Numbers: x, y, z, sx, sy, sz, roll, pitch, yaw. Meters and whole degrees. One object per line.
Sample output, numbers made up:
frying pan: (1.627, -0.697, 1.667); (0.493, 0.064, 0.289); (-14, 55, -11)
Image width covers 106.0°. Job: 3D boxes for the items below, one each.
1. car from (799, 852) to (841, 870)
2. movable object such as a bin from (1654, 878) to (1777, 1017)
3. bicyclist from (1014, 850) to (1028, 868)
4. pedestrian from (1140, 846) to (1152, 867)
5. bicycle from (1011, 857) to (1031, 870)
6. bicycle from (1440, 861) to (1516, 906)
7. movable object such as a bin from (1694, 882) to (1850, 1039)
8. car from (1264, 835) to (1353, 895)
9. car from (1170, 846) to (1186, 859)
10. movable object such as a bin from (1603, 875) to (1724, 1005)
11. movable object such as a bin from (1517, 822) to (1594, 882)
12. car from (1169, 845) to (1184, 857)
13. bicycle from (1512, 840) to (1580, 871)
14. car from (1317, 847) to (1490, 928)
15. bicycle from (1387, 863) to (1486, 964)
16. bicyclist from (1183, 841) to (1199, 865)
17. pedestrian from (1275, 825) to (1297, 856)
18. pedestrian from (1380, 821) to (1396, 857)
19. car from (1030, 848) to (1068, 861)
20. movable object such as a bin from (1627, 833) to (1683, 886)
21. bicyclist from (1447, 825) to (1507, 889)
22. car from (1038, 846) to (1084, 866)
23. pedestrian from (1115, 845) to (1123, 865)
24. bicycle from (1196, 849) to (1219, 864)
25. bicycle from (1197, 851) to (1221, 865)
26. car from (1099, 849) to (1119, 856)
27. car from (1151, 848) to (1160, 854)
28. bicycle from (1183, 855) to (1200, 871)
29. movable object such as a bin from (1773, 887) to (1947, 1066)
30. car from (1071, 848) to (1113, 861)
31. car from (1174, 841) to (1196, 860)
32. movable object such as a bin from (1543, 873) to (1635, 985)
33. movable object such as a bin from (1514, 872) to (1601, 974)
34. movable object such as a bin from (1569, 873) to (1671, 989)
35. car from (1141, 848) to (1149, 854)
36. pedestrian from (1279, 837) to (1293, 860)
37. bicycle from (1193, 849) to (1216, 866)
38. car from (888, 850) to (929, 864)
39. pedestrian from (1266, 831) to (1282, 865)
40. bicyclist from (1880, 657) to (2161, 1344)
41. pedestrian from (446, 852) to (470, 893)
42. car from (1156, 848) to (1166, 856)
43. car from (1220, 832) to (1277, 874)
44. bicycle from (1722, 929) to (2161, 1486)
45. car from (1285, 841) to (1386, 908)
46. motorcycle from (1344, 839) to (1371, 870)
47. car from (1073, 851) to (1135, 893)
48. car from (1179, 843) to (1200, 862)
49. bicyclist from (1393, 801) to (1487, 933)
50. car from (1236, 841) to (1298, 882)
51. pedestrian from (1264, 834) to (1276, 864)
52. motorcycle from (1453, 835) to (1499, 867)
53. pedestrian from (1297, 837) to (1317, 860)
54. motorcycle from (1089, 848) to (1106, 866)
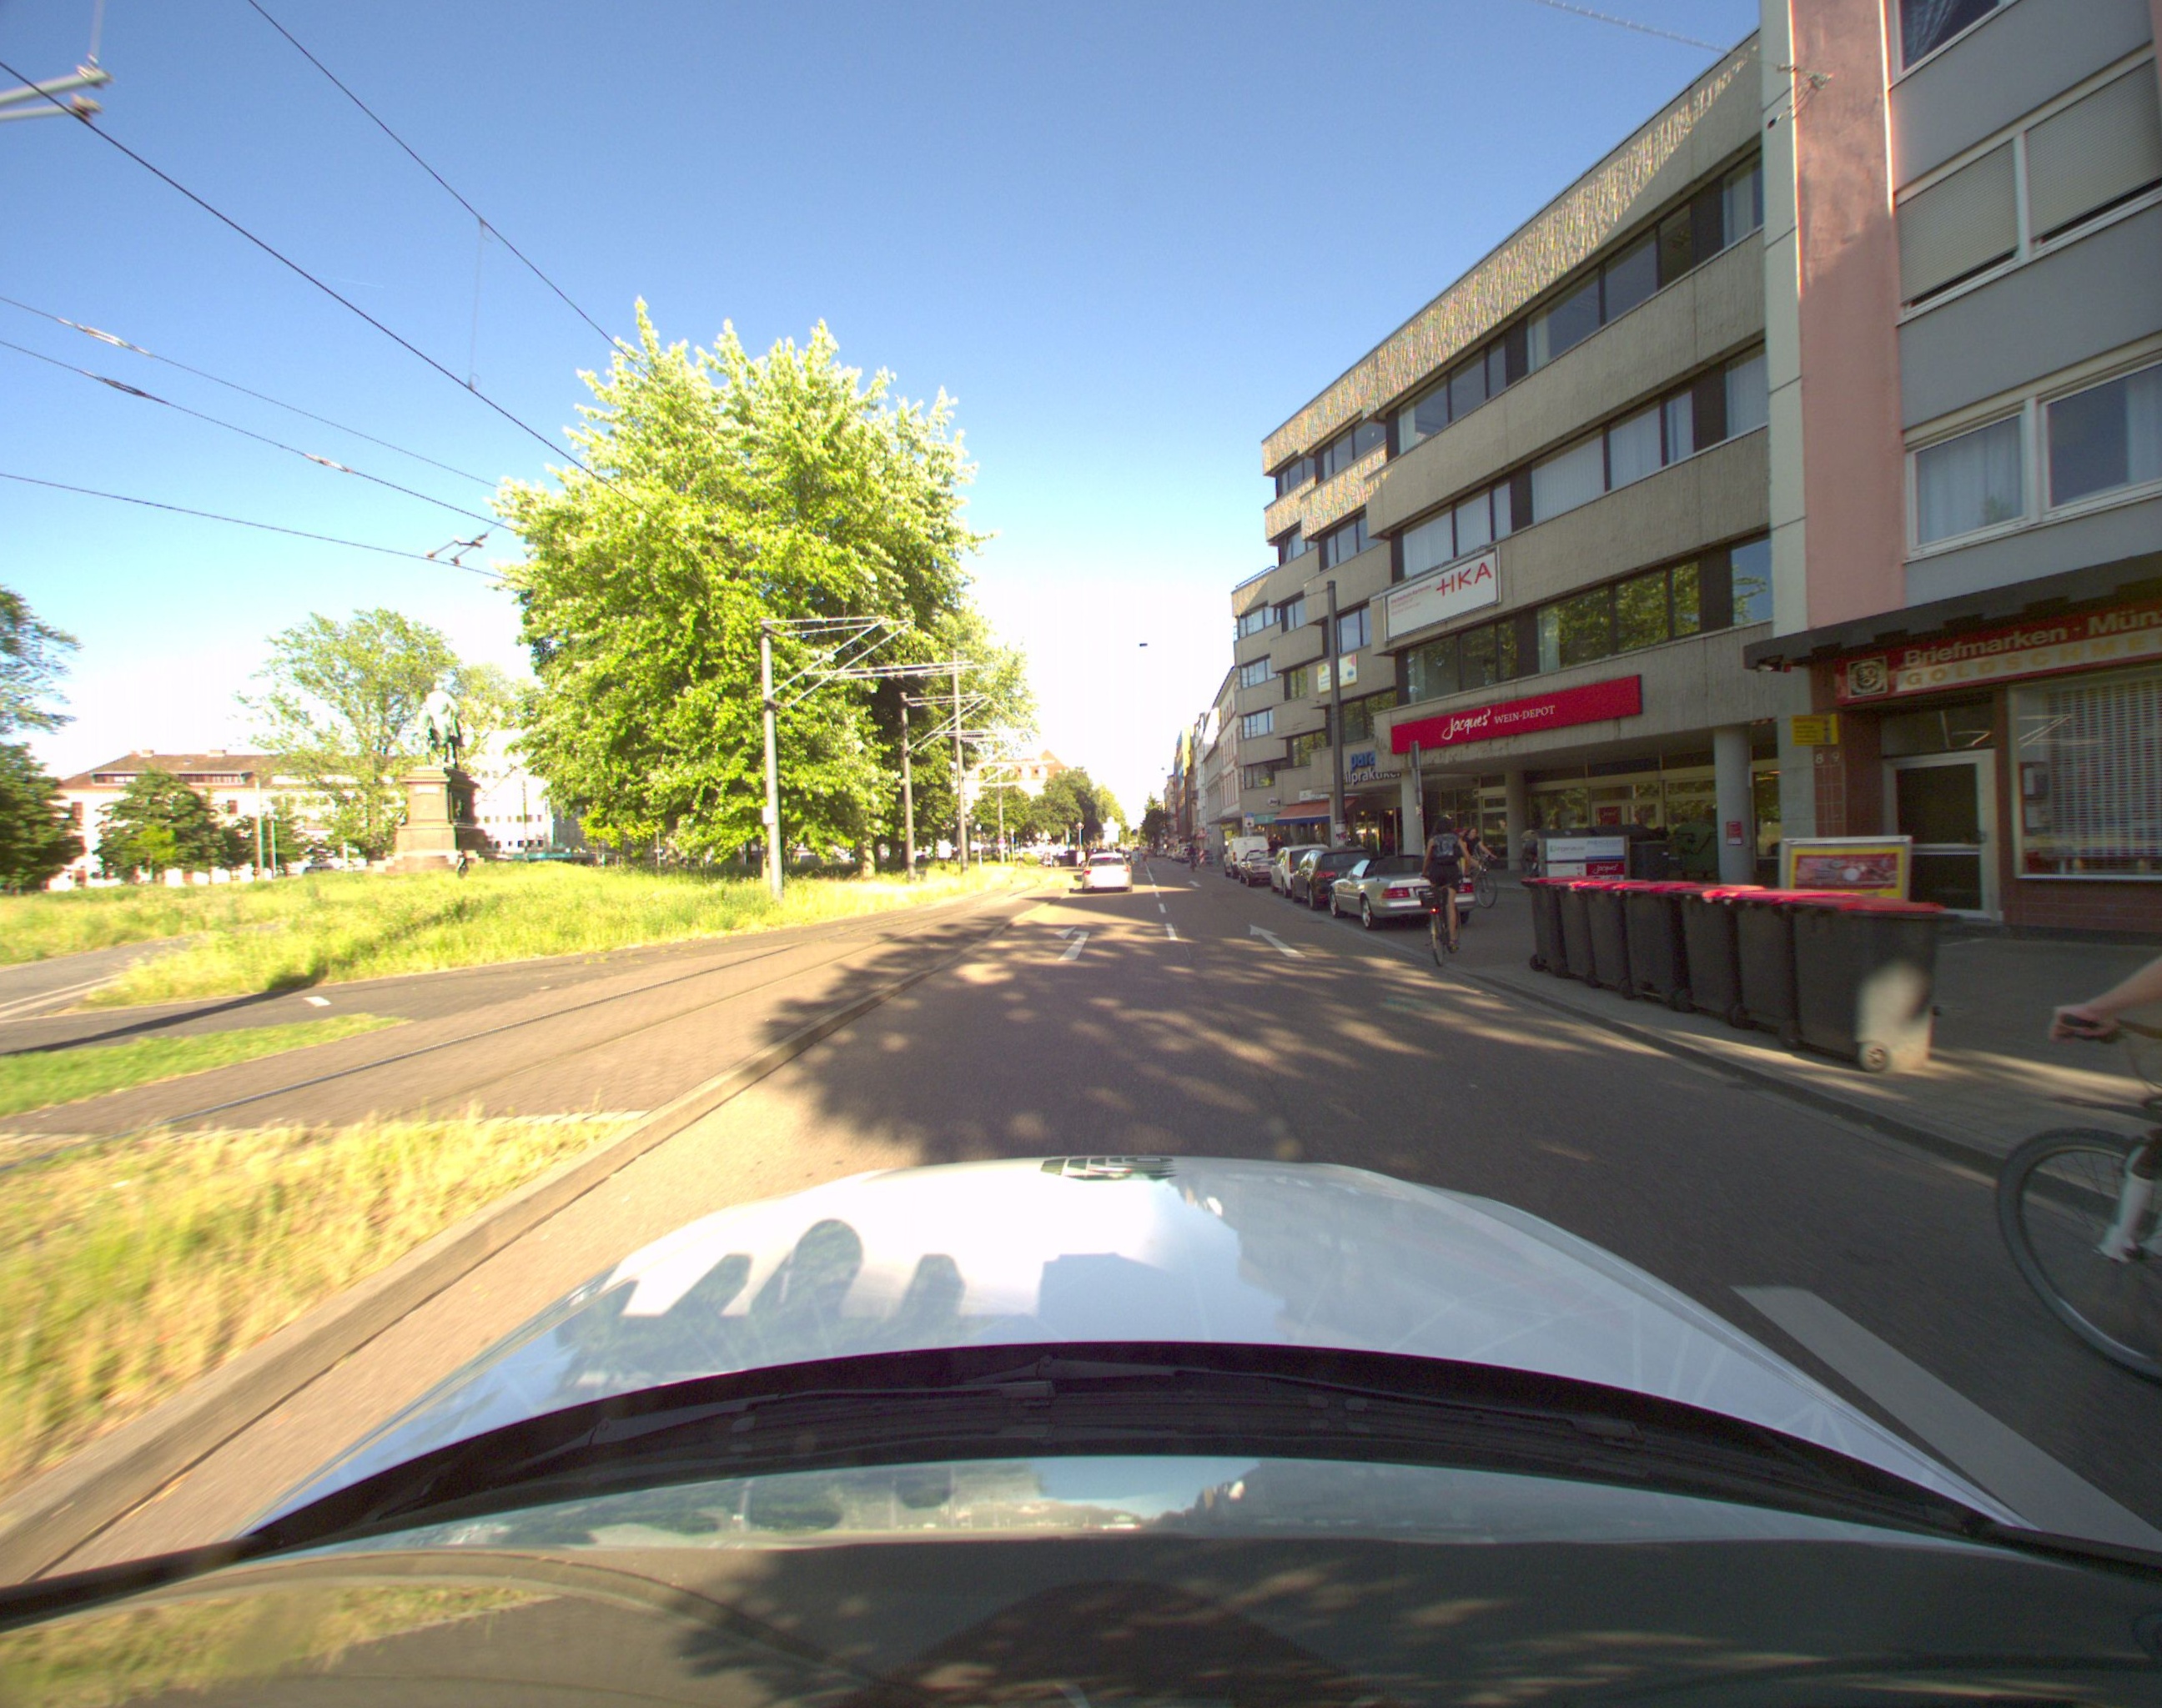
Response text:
car: (-35.259, 0.904, 109.946); (5.353, 2.314, 1.987); (0, -1, -20)
movable object such as a bin: (5.100, 0.732, 6.573); (0.589, 1.069, 0.496); (-1, -1, 0)
bicyclist: (-5.026, 0.390, 68.183); (0.933, 1.507, 0.819); (0, -1, -23)
pedestrian: (5.317, 0.227, 66.966); (0.671, 1.699, 0.798); (0, -1, -26)
bicycle: (-5.037, 0.792, 68.220); (0.813, 1.069, 2.563); (0, -1, -23)
bicycle: (8.397, 0.608, 17.311); (0.533, 0.891, 2.068); (-1, -1, -2)
movable object such as a bin: (5.065, 0.755, 6.004); (0.617, 1.069, 0.610); (-1, -1, 0)
car: (6.833, 0.339, 24.894); (1.843, 1.689, 3.871); (-1, -1, 4)
car: (12.006, -0.155, 101.056); (1.711, 1.515, 3.586); (-4, -1, 3)
movable object such as a bin: (5.101, 0.731, 7.162); (0.604, 1.069, 0.613); (-1, -1, 0)
movable object such as a bin: (11.651, -0.039, 20.069); (1.327, 1.397, 1.125); (-1, -1, 11)
car: (14.301, -0.378, 122.196); (1.891, 1.675, 4.829); (-1, -1, 4)
bicycle: (15.148, 0.058, 26.537); (1.834, 0.981, 0.686); (0, 1, 38)
car: (6.074, 0.597, 15.969); (1.843, 1.344, 4.604); (-1, -1, 4)
bicycle: (4.719, 0.724, 10.729); (0.811, 1.185, 1.977); (-1, -1, 35)
bicyclist: (6.667, -0.044, 49.418); (0.783, 1.453, 1.096); (-1, -1, 1)
pedestrian: (11.805, -0.783, 46.960); (0.845, 1.710, 0.714); (-4, 0, -24)
pedestrian: (15.658, -0.761, 41.509); (0.697, 1.816, 0.720); (-1, -1, 19)
car: (-4.757, 0.098, 121.956); (5.286, 1.800, 2.147); (0, -1, -23)
movable object such as a bin: (12.552, 0.124, 17.828); (0.739, 1.134, 0.725); (-1, -1, 10)
bicyclist: (8.374, 0.068, 17.259); (0.756, 1.326, 0.993); (-1, -1, -2)
car: (-1.811, 0.205, 74.528); (3.889, 1.682, 1.792); (-2, -1, -37)
pedestrian: (3.238, 0.081, 69.053); (0.633, 1.672, 0.693); (-1, -1, 4)
bicycle: (9.307, 0.202, 59.925); (1.665, 1.062, 0.345); (-1, -1, 19)
bicycle: (9.449, 0.277, 60.283); (1.689, 1.004, 0.430); (-1, -1, 19)
car: (5.939, -0.317, 172.539); (3.968, 1.508, 1.897); (-1, -1, 4)
car: (17.913, -0.751, 195.678); (1.985, 1.453, 4.004); (-1, 0, 3)
bicycle: (6.687, 0.543, 49.370); (0.650, 0.958, 2.698); (-1, -1, 1)
movable object such as a bin: (5.050, 0.766, 5.311); (0.571, 1.082, 0.570); (-1, -1, 0)
car: (1.299, 0.070, 99.532); (4.851, 1.488, 1.753); (0, -1, -20)
car: (11.620, -0.418, 91.429); (1.985, 2.004, 5.121); (-2, 0, 2)
movable object such as a bin: (5.228, 0.755, 8.407); (0.608, 1.105, 0.526); (-1, -1, 0)
movable object such as a bin: (5.248, 0.742, 9.001); (0.590, 1.083, 0.604); (-1, -1, 1)
movable object such as a bin: (5.174, 0.722, 7.841); (0.602, 1.069, 0.545); (-1, -1, 0)
car: (16.450, -0.699, 208.903); (1.861, 1.556, 4.005); (-1, -1, 5)
pedestrian: (11.605, -0.310, 46.111); (0.626, 1.236, 0.626); (-4, -1, 7)
bicycle: (9.376, 0.248, 61.793); (1.607, 1.243, 0.663); (-1, -1, 24)
car: (-25.229, 0.429, 119.216); (5.599, 2.014, 1.804); (0, -1, -23)
pedestrian: (10.916, -0.341, 46.069); (0.667, 1.856, 0.611); (-4, -1, 7)
bicyclist: (2.851, 0.314, 1.872); (1.034, 1.484, 0.988); (-1, -1, 1)
pedestrian: (-24.999, 0.733, 32.681); (0.548, 1.616, 0.679); (-2, -1, 41)
car: (16.017, -0.449, 163.392); (1.983, 1.618, 4.017); (0, -1, 6)
car: (7.692, -0.025, 37.696); (1.985, 1.813, 4.313); (-1, -1, 4)
bicycle: (2.854, 0.842, 1.967); (0.882, 1.136, 2.229); (-1, -1, 1)
car: (6.332, 0.486, 20.713); (1.662, 1.518, 4.206); (-1, -1, 6)
motorcycle: (11.095, 0.034, 32.739); (0.758, 1.155, 2.055); (-4, -2, 14)
car: (0.936, 0.639, 29.940); (1.984, 1.423, 4.202); (-1, -1, 5)
car: (10.780, -0.120, 81.125); (1.738, 1.739, 4.965); (-1, -1, 4)
bicyclist: (4.728, 0.170, 10.719); (0.930, 1.633, 0.941); (-1, -1, 36)
car: (7.003, 0.295, 31.057); (1.765, 1.454, 4.738); (-1, -1, 6)
pedestrian: (10.899, -0.260, 46.869); (0.580, 1.714, 0.699); (-1, -1, 7)
motorcycle: (14.773, -0.125, 30.512); (0.511, 1.168, 2.096); (-1, 1, -8)
pedestrian: (13.473, -0.310, 48.584); (0.841, 1.292, 0.829); (-3, -1, -8)
motorcycle: (1.234, 0.244, 62.042); (0.748, 1.374, 1.749); (0, -1, -19)
